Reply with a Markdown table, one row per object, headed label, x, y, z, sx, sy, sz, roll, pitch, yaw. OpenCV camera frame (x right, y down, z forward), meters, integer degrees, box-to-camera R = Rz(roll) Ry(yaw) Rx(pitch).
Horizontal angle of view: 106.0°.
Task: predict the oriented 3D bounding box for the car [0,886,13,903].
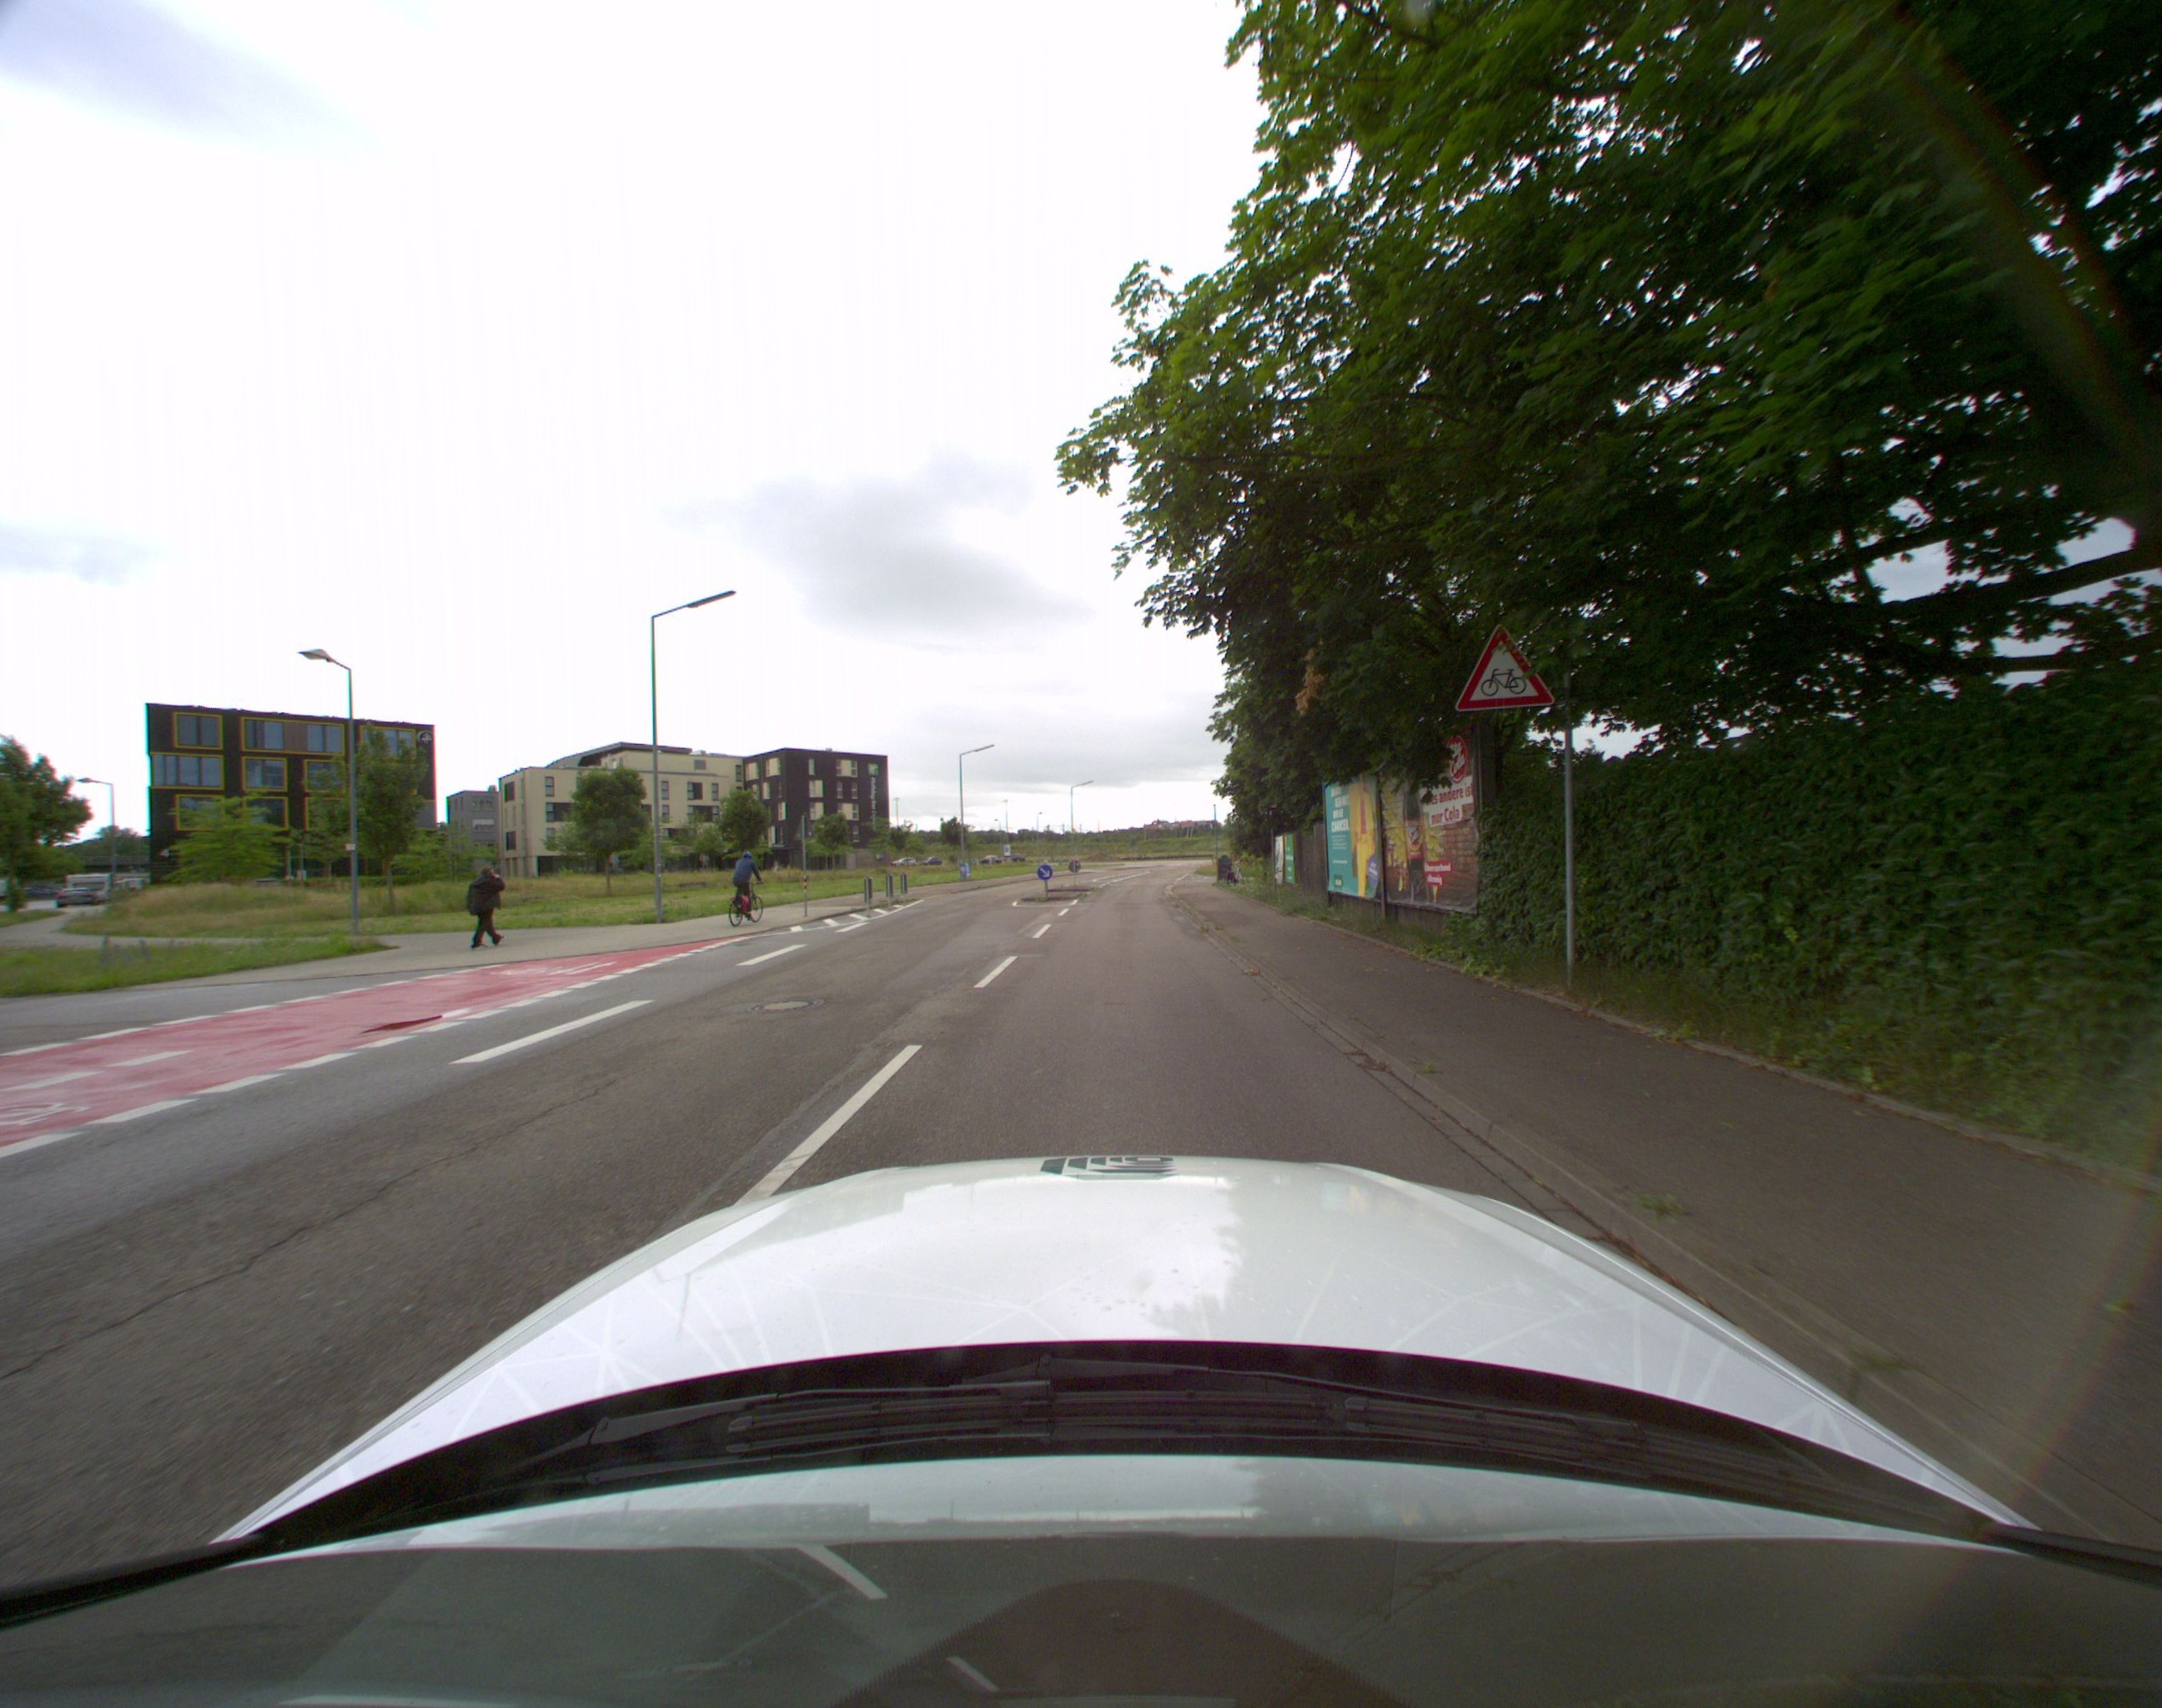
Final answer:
| label | x | y | z | sx | sy | sz | roll | pitch | yaw |
| --- | --- | --- | --- | --- | --- | --- | --- | --- | --- |
| car | -117.645 | 4.423 | 86.923 | 1.974 | 1.771 | 4.283 | -2 | 0 | 36 |

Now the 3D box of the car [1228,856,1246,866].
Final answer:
| label | x | y | z | sx | sy | sz | roll | pitch | yaw |
| --- | --- | --- | --- | --- | --- | --- | --- | --- | --- |
| car | 23.227 | 0.998 | 121.280 | 1.657 | 1.461 | 4.079 | 0 | 0 | 24 |

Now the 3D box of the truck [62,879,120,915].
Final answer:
| label | x | y | z | sx | sy | sz | roll | pitch | yaw |
| --- | --- | --- | --- | --- | --- | --- | --- | --- | --- |
| truck | -82.749 | 3.522 | 68.162 | 7.225 | 2.706 | 2.857 | -2 | 1 | 41 |

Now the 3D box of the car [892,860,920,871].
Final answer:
| label | x | y | z | sx | sy | sz | roll | pitch | yaw |
| --- | --- | --- | --- | --- | --- | --- | --- | --- | --- |
| car | -28.397 | 1.860 | 132.320 | 1.974 | 1.517 | 4.181 | -2 | 1 | 35 |

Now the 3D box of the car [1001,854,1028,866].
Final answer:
| label | x | y | z | sx | sy | sz | roll | pitch | yaw |
| --- | --- | --- | --- | --- | --- | --- | --- | --- | --- |
| car | -10.609 | 0.955 | 129.946 | 3.949 | 1.822 | 2.012 | -2 | 1 | 44 |

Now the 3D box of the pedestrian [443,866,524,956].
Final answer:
| label | x | y | z | sx | sy | sz | roll | pitch | yaw |
| --- | --- | --- | --- | --- | --- | --- | --- | --- | --- |
| pedestrian | -12.589 | 1.167 | 17.199 | 0.842 | 1.782 | 1.076 | -2 | 1 | -3 |

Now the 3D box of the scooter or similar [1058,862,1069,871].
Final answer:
| label | x | y | z | sx | sy | sz | roll | pitch | yaw |
| --- | --- | --- | --- | --- | --- | --- | --- | --- | --- |
| scooter or similar | -2.359 | 1.656 | 109.641 | 1.451 | 1.168 | 0.574 | -1 | 0 | 17 |

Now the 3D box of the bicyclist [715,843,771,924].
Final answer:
| label | x | y | z | sx | sy | sz | roll | pitch | yaw |
| --- | --- | --- | --- | --- | --- | --- | --- | --- | --- |
| bicyclist | -8.750 | 0.744 | 21.118 | 0.858 | 2.013 | 1.177 | -2 | 1 | 1 |

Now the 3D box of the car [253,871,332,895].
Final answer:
| label | x | y | z | sx | sy | sz | roll | pitch | yaw |
| --- | --- | --- | --- | --- | --- | --- | --- | --- | --- |
| car | -60.703 | 2.212 | 62.750 | 1.974 | 1.523 | 4.026 | -4 | 0 | 37 |

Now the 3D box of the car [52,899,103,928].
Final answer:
| label | x | y | z | sx | sy | sz | roll | pitch | yaw |
| --- | --- | --- | --- | --- | --- | --- | --- | --- | --- |
| car | -75.787 | 4.461 | 61.555 | 5.033 | 1.864 | 2.221 | -2 | 1 | 41 |

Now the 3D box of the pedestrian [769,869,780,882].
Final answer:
| label | x | y | z | sx | sy | sz | roll | pitch | yaw |
| --- | --- | --- | --- | --- | --- | --- | --- | --- | --- |
| pedestrian | -38.432 | 2.666 | 102.066 | 0.942 | 1.570 | 0.881 | -2 | 1 | 26 |

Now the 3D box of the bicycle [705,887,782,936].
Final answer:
| label | x | y | z | sx | sy | sz | roll | pitch | yaw |
| --- | --- | --- | --- | --- | --- | --- | --- | --- | --- |
| bicycle | -8.714 | 1.460 | 21.178 | 0.880 | 1.052 | 2.469 | -2 | 1 | 1 |

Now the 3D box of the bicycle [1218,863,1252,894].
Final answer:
| label | x | y | z | sx | sy | sz | roll | pitch | yaw |
| --- | --- | --- | --- | --- | --- | --- | --- | --- | --- |
| bicycle | 5.916 | 0.931 | 31.223 | 0.788 | 1.111 | 1.963 | -2 | 0 | 25 |
